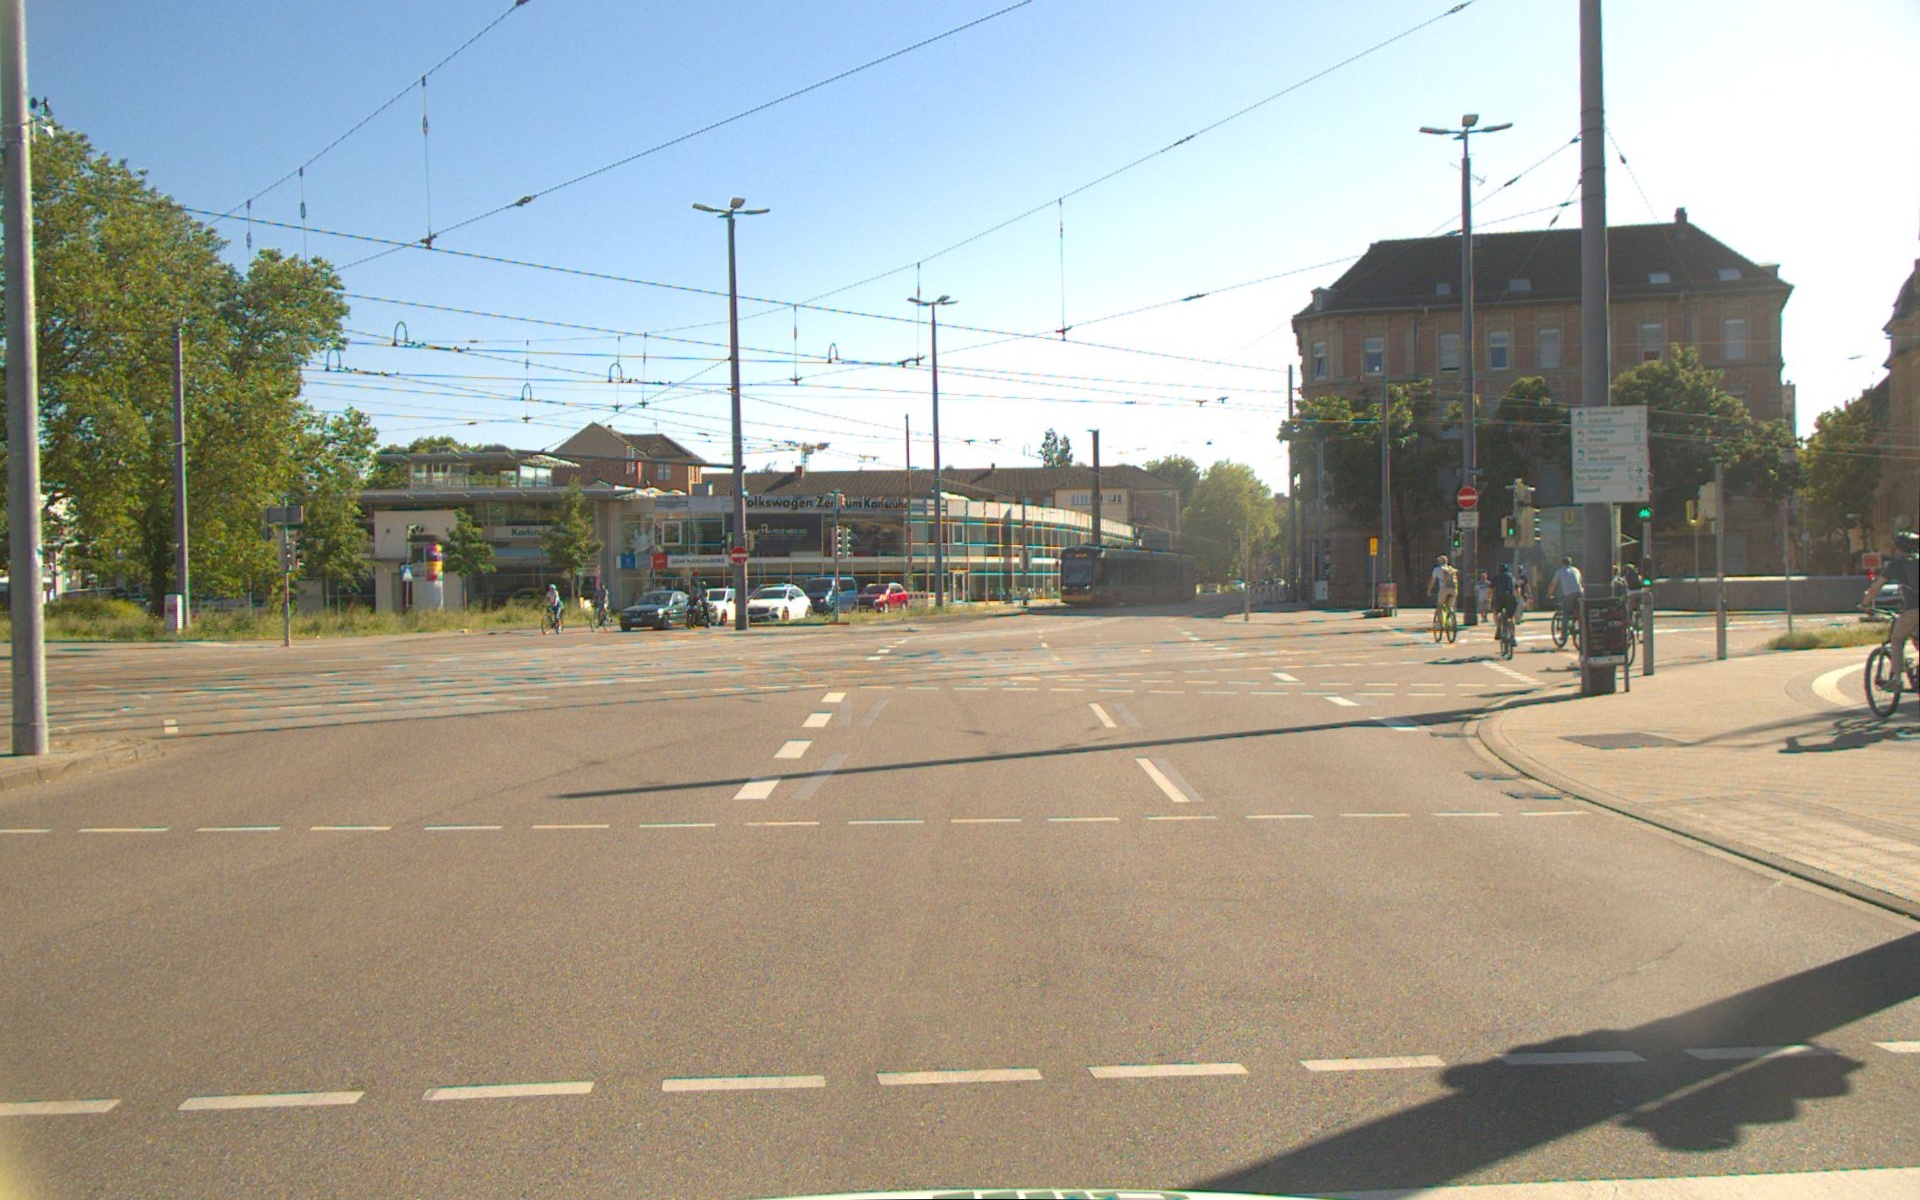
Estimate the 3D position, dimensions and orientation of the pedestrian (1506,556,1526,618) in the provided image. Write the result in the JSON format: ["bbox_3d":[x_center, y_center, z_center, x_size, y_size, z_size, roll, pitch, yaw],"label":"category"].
[{"bbox_3d":[18.667,-0.443,55.541,0.453,2.049,0.449,-1,1,-18],"label":"pedestrian"}]

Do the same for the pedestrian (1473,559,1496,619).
[{"bbox_3d":[17.950,-0.377,56.634,0.564,2.049,0.449,-1,1,-19],"label":"pedestrian"}]

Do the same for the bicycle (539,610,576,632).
[{"bbox_3d":[-14.460,0.747,59.387,0.414,0.730,1.473,-1,1,27],"label":"bicycle"}]

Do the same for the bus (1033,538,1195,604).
[{"bbox_3d":[10.225,-1.613,104.061,3.757,3.670,24.869,1,0,20],"label":"bus"}]

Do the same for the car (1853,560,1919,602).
[{"bbox_3d":[37.551,-0.759,65.422,4.258,1.590,1.785,-1,0,-26],"label":"car"}]

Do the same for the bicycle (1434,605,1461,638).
[{"bbox_3d":[10.825,0.469,36.708,0.525,0.667,1.726,-1,1,18],"label":"bicycle"}]

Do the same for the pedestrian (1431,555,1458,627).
[{"bbox_3d":[10.764,-0.201,36.736,0.537,1.590,0.858,-1,0,19],"label":"pedestrian"}]

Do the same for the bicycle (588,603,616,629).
[{"bbox_3d":[-13.325,0.595,61.608,0.458,0.943,1.476,-1,0,12],"label":"bicycle"}]

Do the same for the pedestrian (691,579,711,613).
[{"bbox_3d":[-9.437,-0.140,60.251,0.413,1.225,0.750,-1,0,16],"label":"pedestrian"}]

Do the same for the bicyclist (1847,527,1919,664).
[{"bbox_3d":[9.383,-0.062,16.329,0.705,1.301,0.907,-3,0,-1],"label":"bicyclist"}]

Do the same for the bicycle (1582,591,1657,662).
[{"bbox_3d":[11.556,0.444,29.058,0.671,1.184,1.884,-1,0,4],"label":"bicycle"}]

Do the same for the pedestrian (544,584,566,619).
[{"bbox_3d":[-14.521,0.042,59.290,0.414,1.225,0.680,-1,0,27],"label":"pedestrian"}]

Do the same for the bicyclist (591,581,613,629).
[{"bbox_3d":[-13.312,0.180,61.542,0.556,1.743,0.649,-1,0,12],"label":"bicyclist"}]

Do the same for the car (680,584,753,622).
[{"bbox_3d":[-9.783,0.102,66.655,1.591,1.448,3.689,-1,0,14],"label":"car"}]

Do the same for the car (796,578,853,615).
[{"bbox_3d":[-6.420,-0.193,78.841,1.591,1.722,3.689,-1,0,14],"label":"car"}]

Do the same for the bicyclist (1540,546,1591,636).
[{"bbox_3d":[12.417,-0.185,33.929,0.731,1.810,0.925,-2,0,6],"label":"bicyclist"}]

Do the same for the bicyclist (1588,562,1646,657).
[{"bbox_3d":[11.560,0.158,29.114,0.671,1.626,0.978,-1,0,4],"label":"bicyclist"}]

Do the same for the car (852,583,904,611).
[{"bbox_3d":[-4.242,-0.153,86.001,1.591,1.388,3.688,-1,0,16],"label":"car"}]

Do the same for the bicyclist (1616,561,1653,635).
[{"bbox_3d":[14.971,-0.046,36.705,0.559,1.596,0.947,-1,0,11],"label":"bicyclist"}]

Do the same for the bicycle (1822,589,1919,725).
[{"bbox_3d":[9.379,0.535,16.357,0.676,1.239,1.834,-3,0,-1],"label":"bicycle"}]

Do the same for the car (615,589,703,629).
[{"bbox_3d":[-11.007,0.303,60.681,1.667,1.378,3.703,-1,1,16],"label":"car"}]

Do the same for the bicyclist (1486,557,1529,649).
[{"bbox_3d":[10.232,0.048,30.948,0.612,1.666,0.996,2,2,13],"label":"bicyclist"}]

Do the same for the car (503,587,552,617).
[{"bbox_3d":[-25.971,0.106,99.456,1.926,1.735,4.083,-1,0,-1],"label":"car"}]

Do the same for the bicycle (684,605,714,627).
[{"bbox_3d":[-9.490,0.573,60.109,0.413,0.730,1.636,-1,1,16],"label":"bicycle"}]

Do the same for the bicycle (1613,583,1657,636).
[{"bbox_3d":[14.984,0.193,36.740,0.559,1.145,1.742,-1,0,11],"label":"bicycle"}]

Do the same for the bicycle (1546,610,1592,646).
[{"bbox_3d":[12.426,0.567,33.783,0.525,0.667,1.469,-2,1,6],"label":"bicycle"}]

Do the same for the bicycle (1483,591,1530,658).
[{"bbox_3d":[10.239,0.439,31.031,0.612,1.133,1.853,2,2,13],"label":"bicycle"}]

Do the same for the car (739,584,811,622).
[{"bbox_3d":[-7.232,0.104,64.812,1.591,1.406,3.741,-1,0,14],"label":"car"}]
